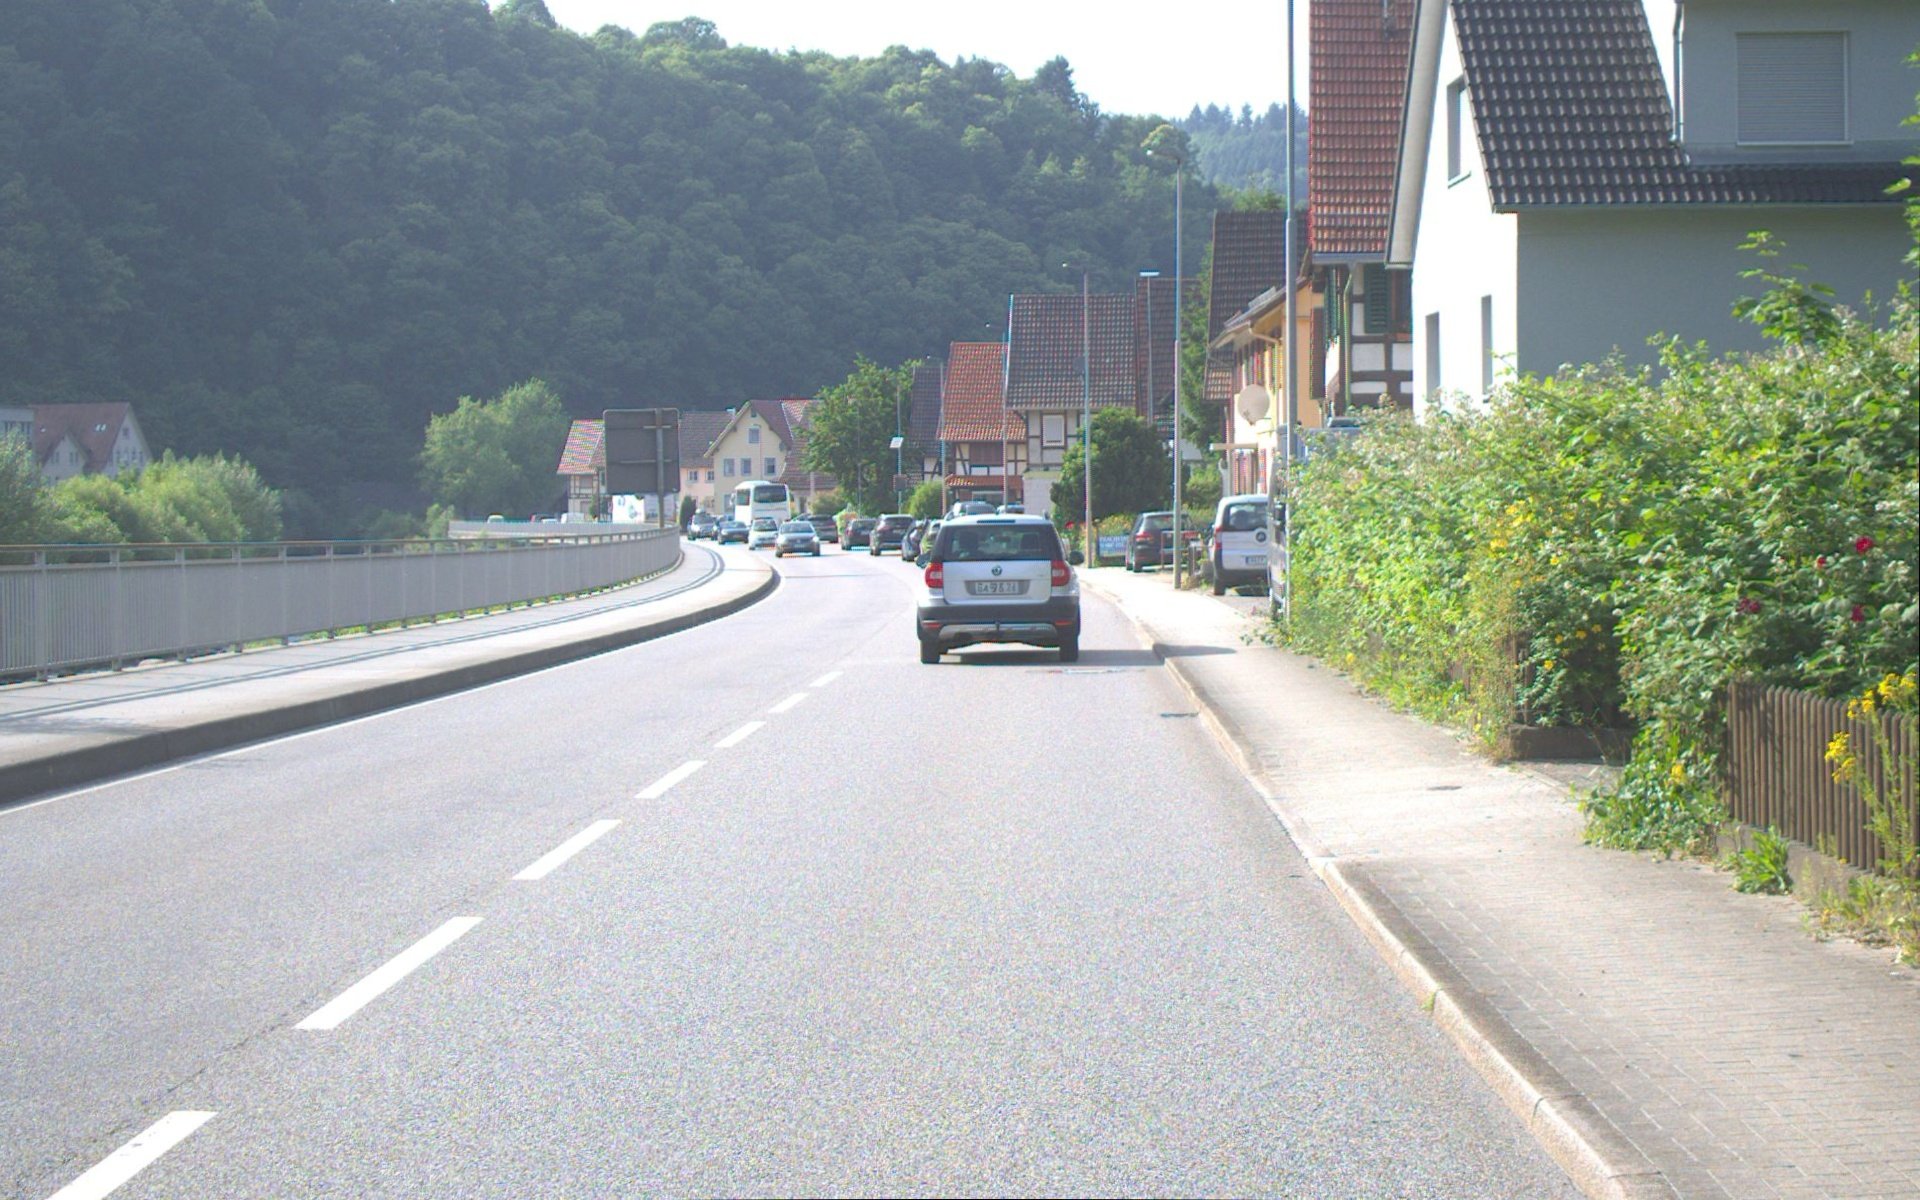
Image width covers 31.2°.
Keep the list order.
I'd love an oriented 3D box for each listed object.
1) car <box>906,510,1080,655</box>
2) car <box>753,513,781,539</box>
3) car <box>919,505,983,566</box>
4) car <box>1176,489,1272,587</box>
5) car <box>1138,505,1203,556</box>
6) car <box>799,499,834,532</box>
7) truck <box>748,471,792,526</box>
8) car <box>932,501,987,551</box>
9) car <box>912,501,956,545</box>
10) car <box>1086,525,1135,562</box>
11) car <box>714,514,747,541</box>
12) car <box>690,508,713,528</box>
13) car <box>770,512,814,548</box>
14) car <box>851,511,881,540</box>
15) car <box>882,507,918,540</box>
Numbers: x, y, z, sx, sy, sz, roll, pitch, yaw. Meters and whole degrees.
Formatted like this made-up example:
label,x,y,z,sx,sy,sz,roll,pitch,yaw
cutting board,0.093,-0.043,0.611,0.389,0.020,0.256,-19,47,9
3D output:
label,x,y,z,sx,sy,sz,roll,pitch,yaw
car,0.431,-0.233,39.112,1.861,1.539,4.373,0,1,2
car,-9.529,-3.656,170.140,1.364,1.273,3.083,-1,0,-3
car,-0.220,-1.652,89.460,1.622,1.536,3.278,-1,0,0
car,4.655,-1.067,60.296,1.610,1.640,3.650,0,0,5
car,5.198,-1.706,85.026,1.544,1.212,3.277,-1,0,3
car,-7.815,-4.615,186.962,1.674,1.746,3.448,0,2,1
truck,-12.077,-6.503,218.896,2.728,3.363,6.479,-1,2,-3
car,-0.025,-2.213,103.726,1.610,1.454,3.346,-1,0,0
car,-0.895,-2.628,118.313,1.479,1.454,3.083,-1,0,-1
car,4.065,-1.508,92.807,1.296,0.971,2.922,-1,0,3
car,-13.604,-4.311,203.835,1.748,1.539,4.001,-1,2,-6
car,-17.074,-5.421,227.259,1.364,1.273,3.084,-1,0,-6
car,-6.786,-2.858,139.180,1.433,1.379,3.135,0,2,3
car,-4.284,-3.382,156.386,1.364,1.273,3.083,-1,0,-2
car,-2.375,-3.010,135.712,1.364,1.273,3.083,-1,0,-1
